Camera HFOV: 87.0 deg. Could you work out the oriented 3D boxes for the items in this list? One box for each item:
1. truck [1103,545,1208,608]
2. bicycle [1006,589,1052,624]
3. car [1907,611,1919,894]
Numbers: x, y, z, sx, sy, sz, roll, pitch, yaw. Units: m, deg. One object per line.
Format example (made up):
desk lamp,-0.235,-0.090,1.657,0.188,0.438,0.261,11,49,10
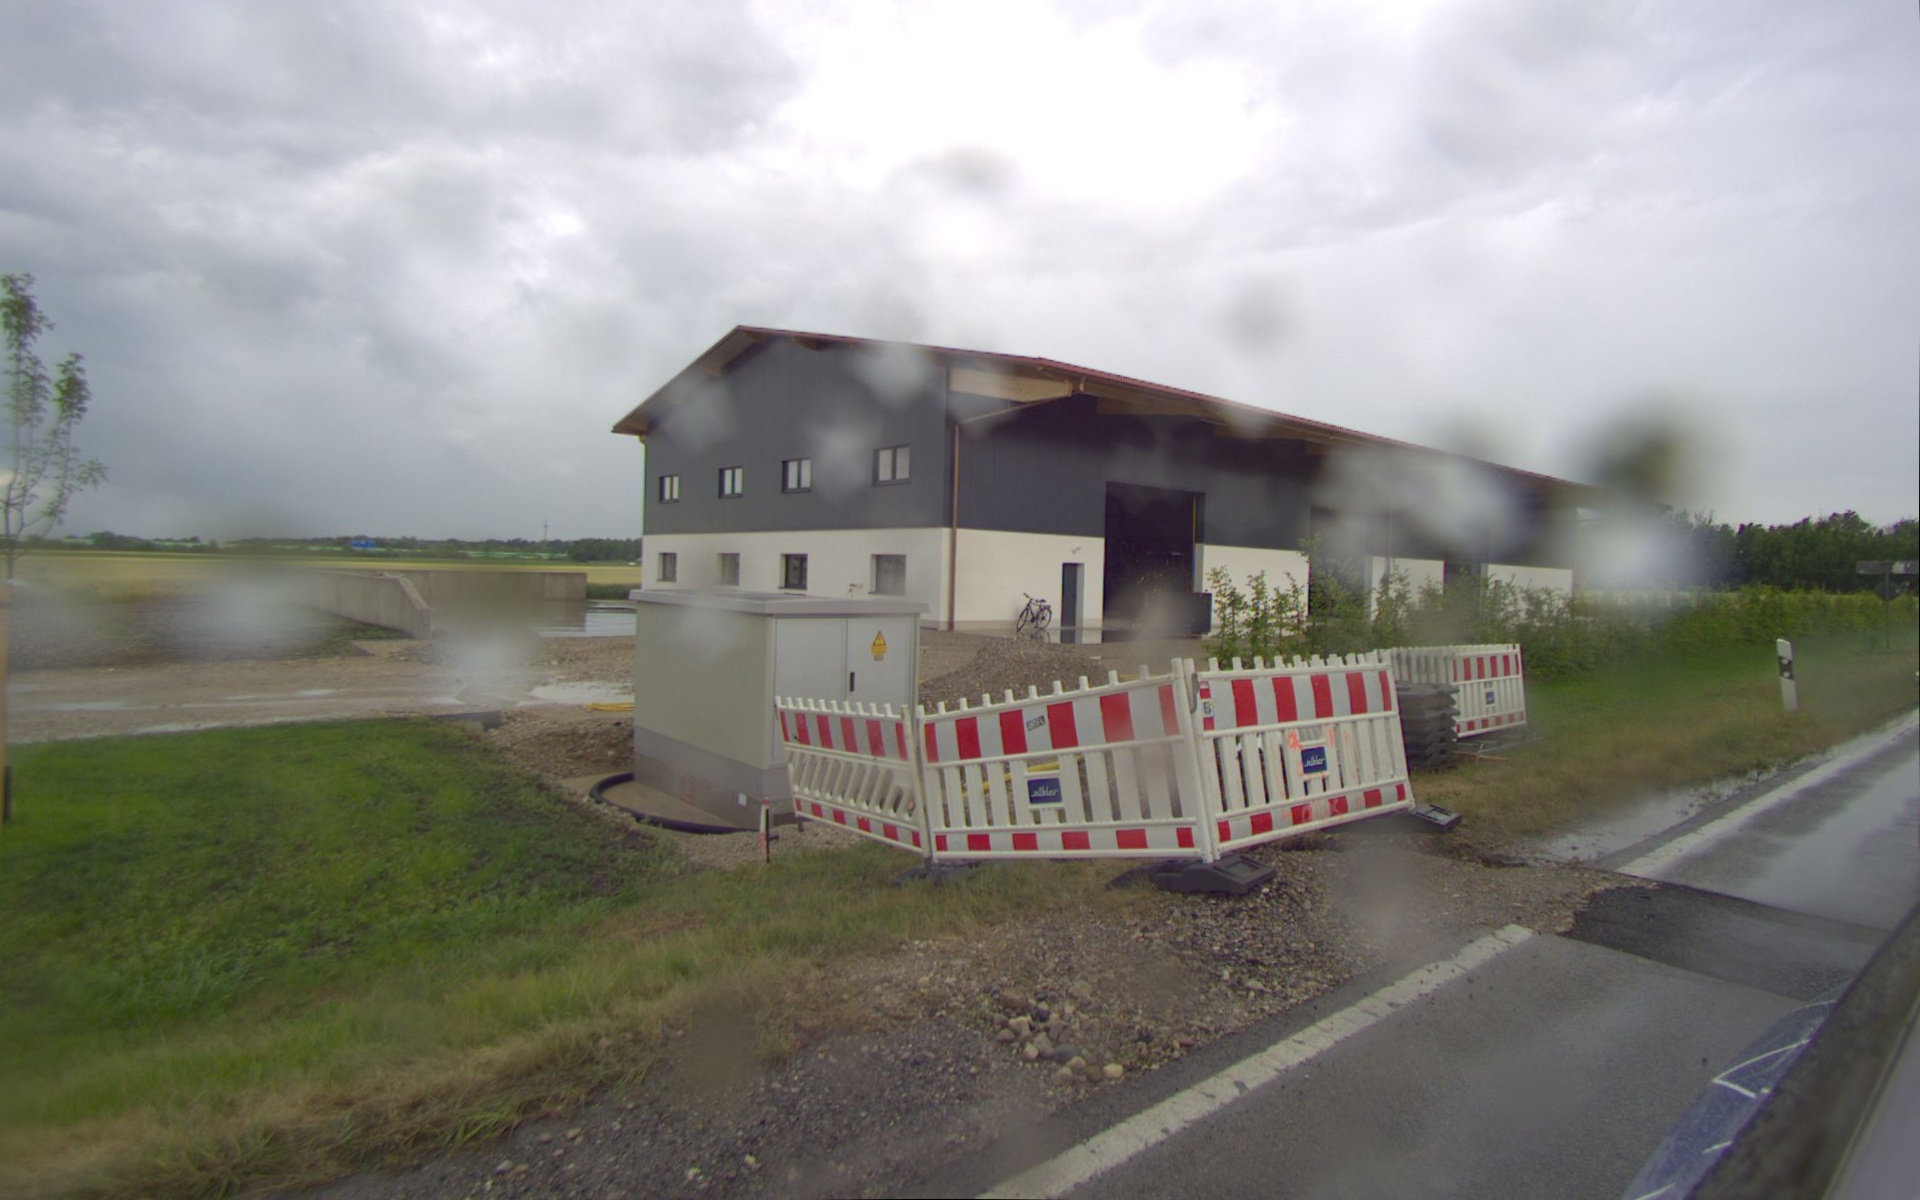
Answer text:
truck,10.012,-1.188,51.697,5.250,3.050,2.495,0,2,-41
bicycle,2.202,0.202,32.144,1.631,1.085,0.391,0,2,-41
car,7.050,0.742,5.850,4.489,1.404,1.841,-1,0,-41
